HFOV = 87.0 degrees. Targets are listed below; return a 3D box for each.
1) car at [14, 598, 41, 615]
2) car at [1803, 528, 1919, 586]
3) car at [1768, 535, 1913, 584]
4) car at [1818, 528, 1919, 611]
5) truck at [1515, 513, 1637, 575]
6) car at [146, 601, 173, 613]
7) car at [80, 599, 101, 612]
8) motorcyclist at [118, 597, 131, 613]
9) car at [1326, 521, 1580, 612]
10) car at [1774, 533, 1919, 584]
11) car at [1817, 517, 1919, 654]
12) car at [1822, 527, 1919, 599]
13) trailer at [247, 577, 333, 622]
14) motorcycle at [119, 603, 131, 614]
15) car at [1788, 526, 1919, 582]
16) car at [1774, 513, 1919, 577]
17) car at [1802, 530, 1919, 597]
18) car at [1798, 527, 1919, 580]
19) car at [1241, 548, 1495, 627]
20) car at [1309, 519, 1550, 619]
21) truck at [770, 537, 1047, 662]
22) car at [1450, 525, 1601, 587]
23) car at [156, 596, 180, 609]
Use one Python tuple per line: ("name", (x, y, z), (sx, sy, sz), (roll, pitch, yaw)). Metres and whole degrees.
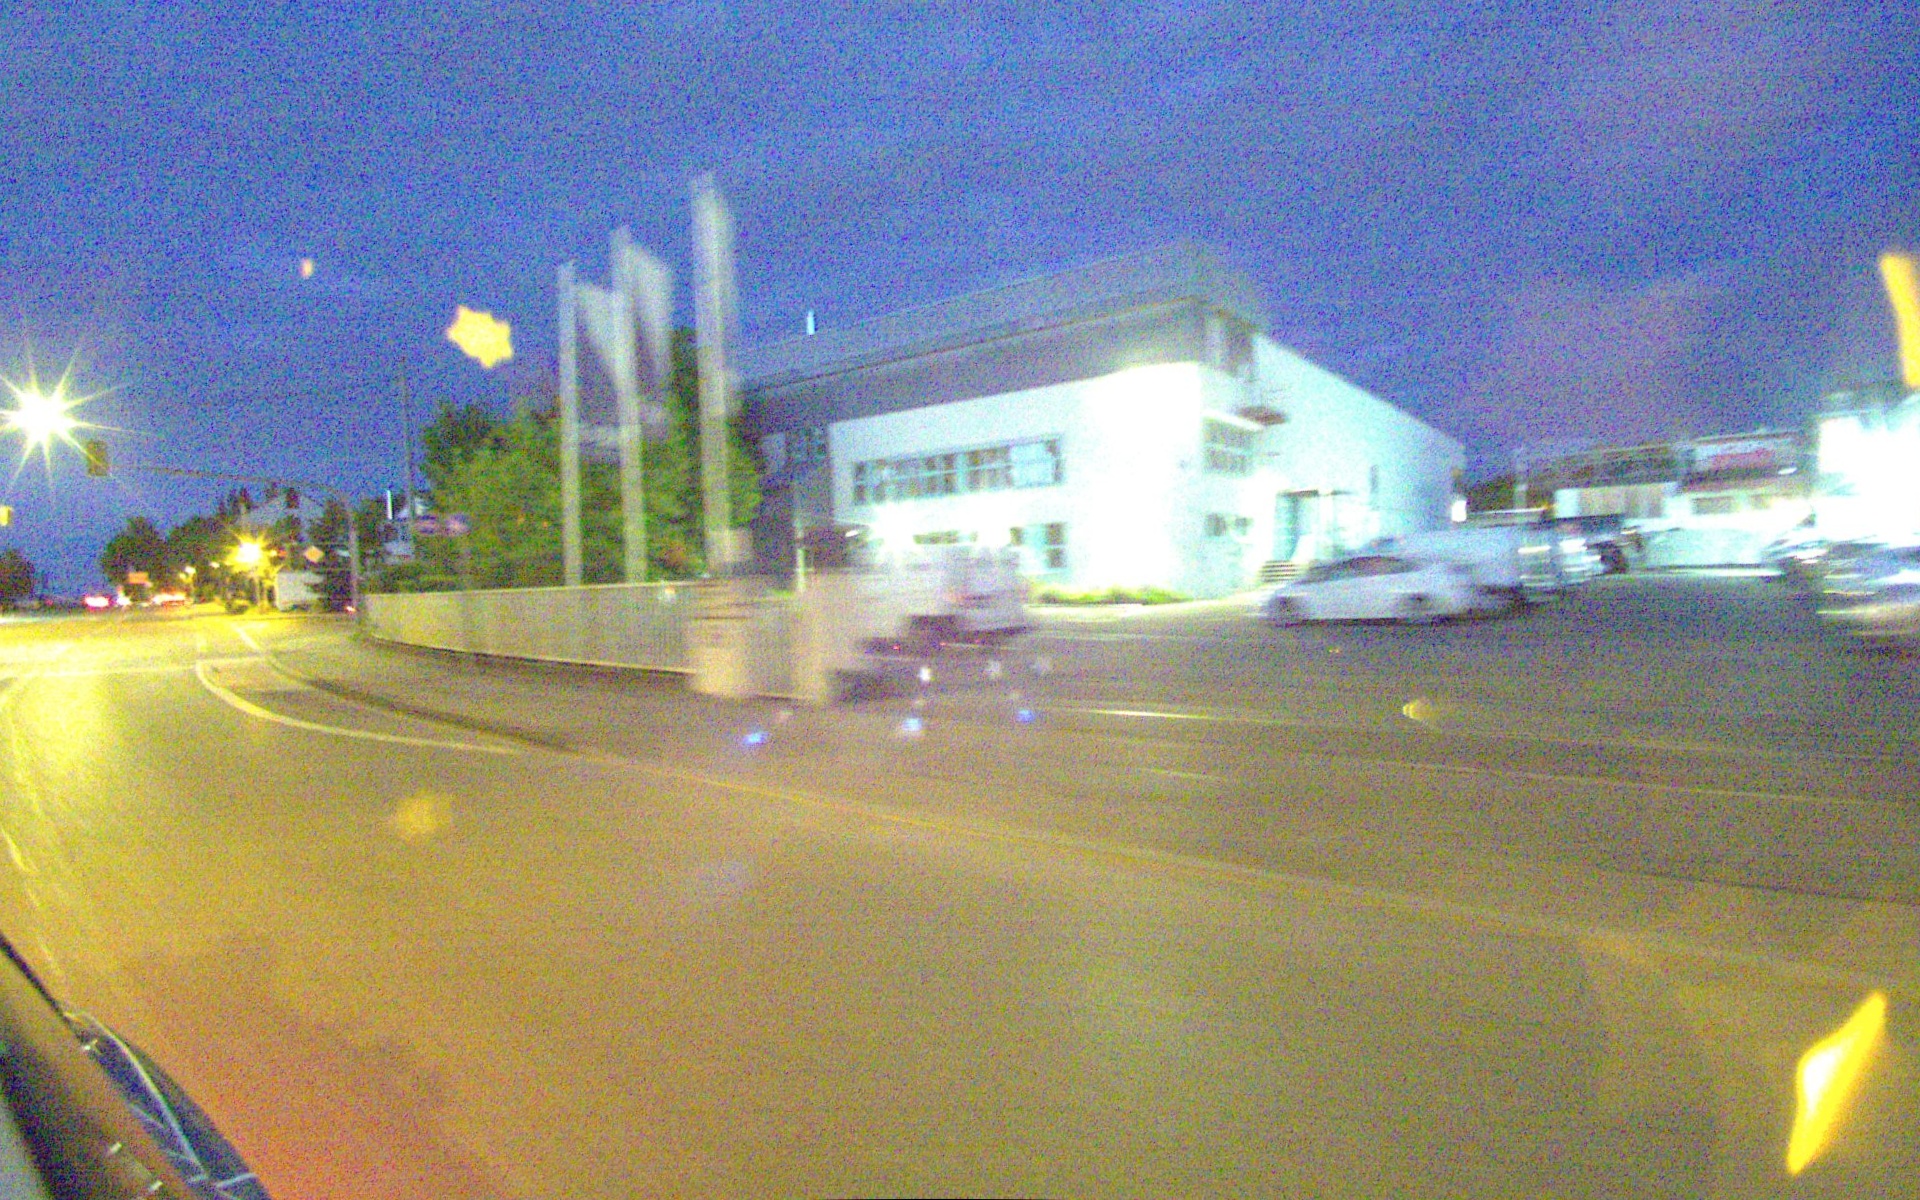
("car", (-93.398, 0.688, 101.417), (1.911, 1.563, 4.005), (-3, 2, -42))
("car", (26.042, -1.217, 28.278), (3.546, 1.505, 1.606), (-2, 1, 31))
("car", (34.839, -1.560, 40.203), (3.985, 1.730, 1.956), (-1, 0, 31))
("car", (19.339, -0.645, 19.071), (4.509, 1.505, 1.816), (-2, 1, 30))
("truck", (28.157, -2.502, 46.329), (4.520, 2.558, 1.974), (-1, 2, 40))
("car", (-99.548, 0.848, 125.856), (4.598, 1.390, 1.972), (-1, 2, 43))
("car", (-120.854, 0.777, 140.726), (1.968, 1.639, 4.762), (-3, 2, -38))
("motorcyclist", (-104.230, 0.642, 126.284), (1.121, 1.914, 0.834), (-3, 2, -44))
("car", (12.308, -0.774, 25.469), (5.402, 2.019, 2.229), (-1, 2, 38))
("car", (33.482, -1.540, 38.216), (3.985, 1.730, 1.956), (-1, 0, 31))
("car", (13.042, -0.236, 11.436), (4.945, 1.592, 1.812), (-1, 1, 36))
("car", (21.975, -0.871, 22.035), (4.503, 1.505, 1.818), (-2, 1, 26))
("trailer", (-41.710, -0.034, 63.051), (4.293, 2.740, 2.004), (-1, 0, -39))
("motorcycle", (-104.368, 1.046, 126.494), (0.986, 1.314, 2.829), (-3, 2, -44))
("car", (30.155, -1.492, 33.148), (4.409, 1.697, 1.956), (-1, 0, 31))
("car", (31.675, -1.916, 35.961), (3.995, 2.029, 1.956), (-1, 0, 31))
("car", (23.065, -0.921, 23.950), (4.509, 1.505, 1.816), (-2, 1, 30))
("car", (28.635, -1.457, 31.129), (4.134, 1.464, 1.822), (-2, 1, 31))
("car", (8.479, -0.236, 21.233), (4.609, 1.475, 1.824), (-1, 2, 37))
("car", (10.571, -0.646, 22.892), (4.675, 2.028, 1.978), (-1, 1, 34))
("truck", (-1.099, -0.025, 18.143), (1.970, 1.914, 5.323), (-3, 2, -42))
("car", (21.248, -1.598, 38.092), (4.780, 2.068, 1.864), (-1, 0, 36))
("car", (-95.333, 0.358, 121.823), (1.827, 1.456, 4.921), (-3, 2, -42))
